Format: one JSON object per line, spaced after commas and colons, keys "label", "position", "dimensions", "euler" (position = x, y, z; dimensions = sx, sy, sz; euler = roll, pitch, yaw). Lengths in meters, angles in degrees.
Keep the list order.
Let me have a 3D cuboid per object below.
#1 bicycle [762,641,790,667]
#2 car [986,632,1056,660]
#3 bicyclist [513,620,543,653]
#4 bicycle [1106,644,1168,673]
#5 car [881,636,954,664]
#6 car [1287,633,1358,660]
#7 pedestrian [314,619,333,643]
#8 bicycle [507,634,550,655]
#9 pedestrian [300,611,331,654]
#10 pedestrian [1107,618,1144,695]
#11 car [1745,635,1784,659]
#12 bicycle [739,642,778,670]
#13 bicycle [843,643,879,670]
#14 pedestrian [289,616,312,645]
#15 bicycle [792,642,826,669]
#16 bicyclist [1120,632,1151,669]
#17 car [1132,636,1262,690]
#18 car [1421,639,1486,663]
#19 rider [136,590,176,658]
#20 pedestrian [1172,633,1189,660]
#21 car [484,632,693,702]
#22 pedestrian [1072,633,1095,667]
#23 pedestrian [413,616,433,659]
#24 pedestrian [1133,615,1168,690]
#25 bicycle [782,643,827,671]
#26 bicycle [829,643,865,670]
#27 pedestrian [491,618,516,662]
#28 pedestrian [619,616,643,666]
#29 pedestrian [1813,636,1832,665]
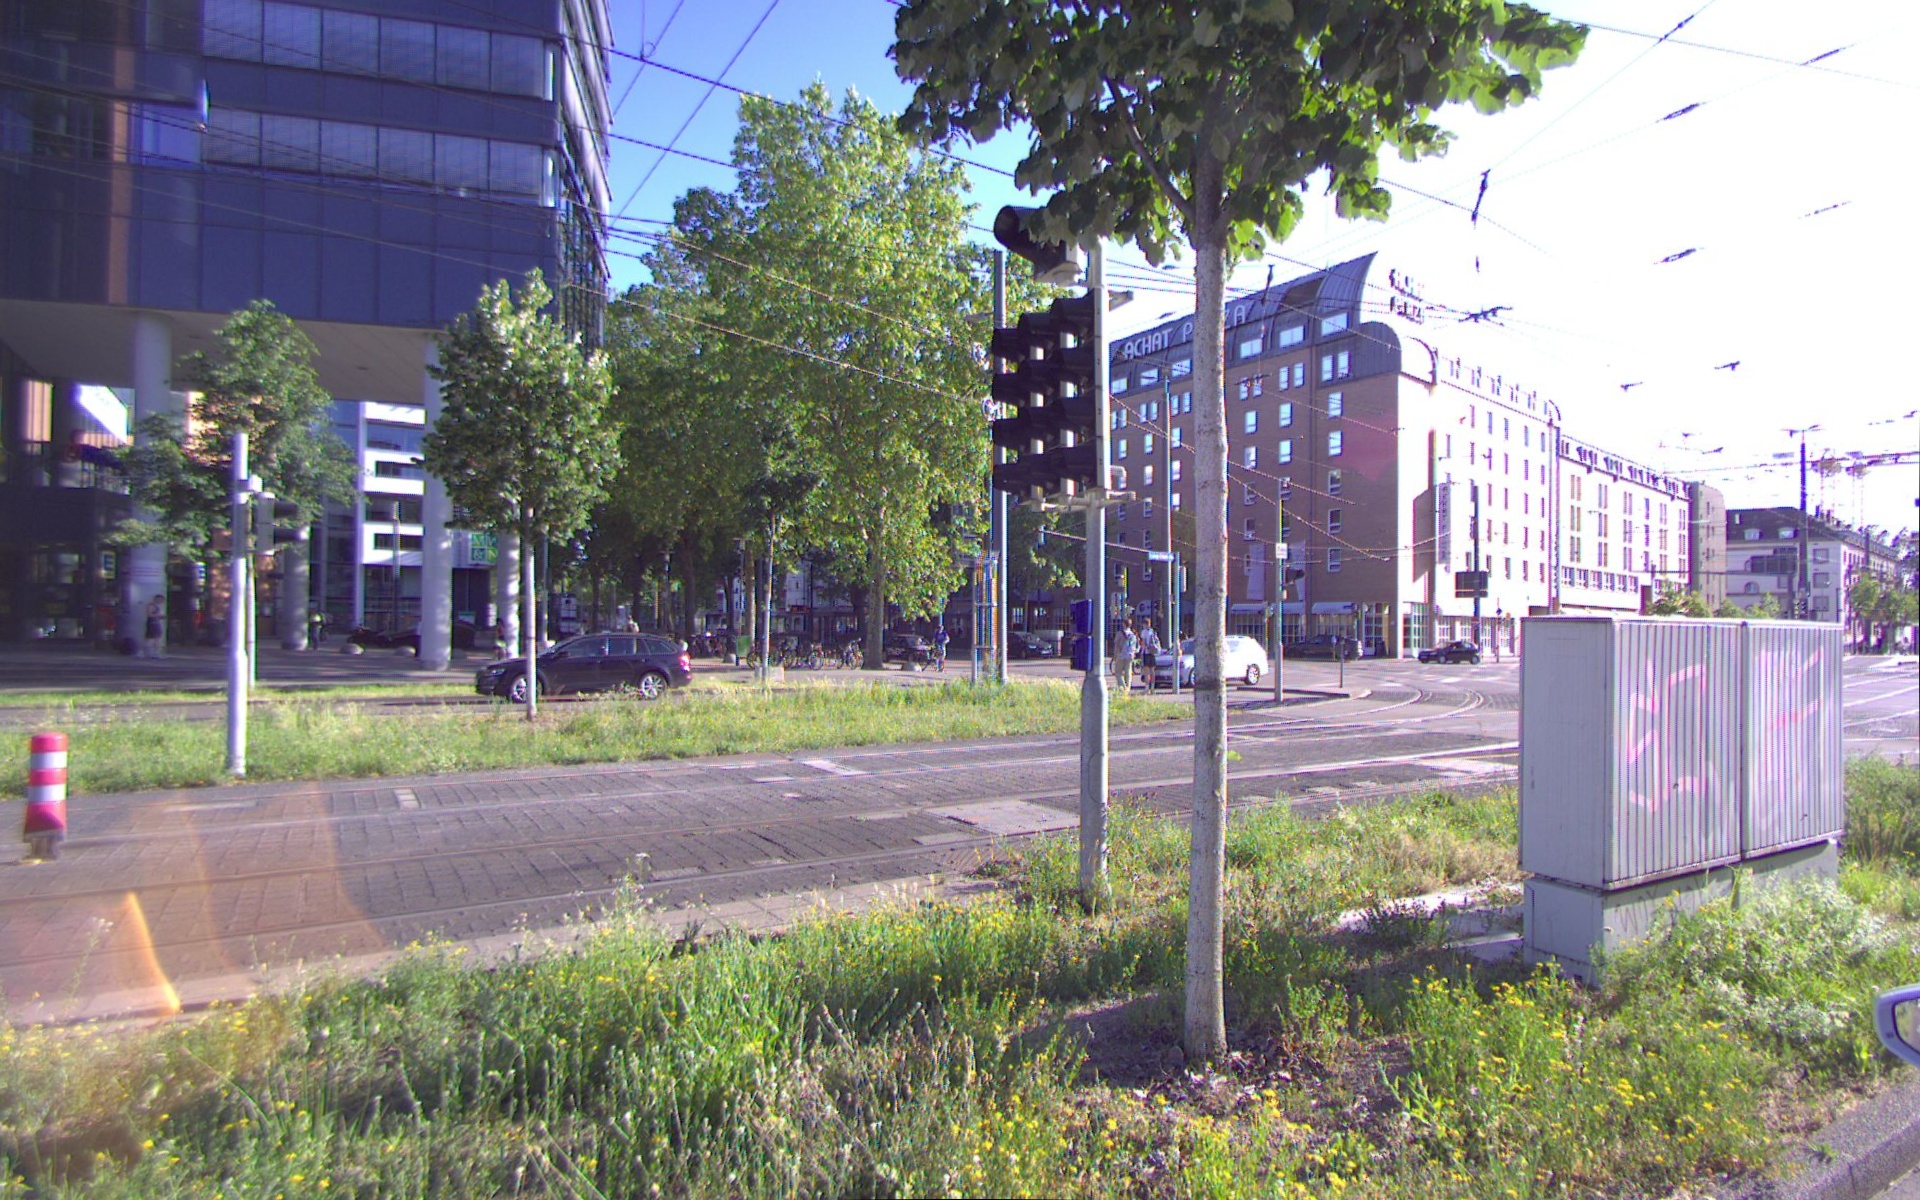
{"label": "bicycle", "position": [-7.017, 2.050, 38.362], "dimensions": [0.530, 0.964, 1.772], "euler": [1, -1, 7]}
{"label": "car", "position": [3.328, 2.514, 55.145], "dimensions": [1.743, 1.439, 3.960], "euler": [2, -2, -35]}
{"label": "bicyclist", "position": [-19.424, 1.633, 45.194], "dimensions": [0.667, 1.484, 1.015], "euler": [0, -1, 27]}
{"label": "bicycle", "position": [6.928, 2.268, 39.182], "dimensions": [2.900, 1.099, 0.645], "euler": [2, -2, -38]}
{"label": "car", "position": [-2.129, 2.420, 49.142], "dimensions": [1.977, 1.283, 3.968], "euler": [1, -2, -30]}
{"label": "car", "position": [22.630, 2.868, 62.795], "dimensions": [1.740, 1.570, 3.965], "euler": [1, -2, -32]}
{"label": "pedestrian", "position": [-34.449, 1.685, 54.400], "dimensions": [0.651, 1.294, 0.636], "euler": [1, 0, -13]}
{"label": "bicycle", "position": [-19.428, 2.001, 45.222], "dimensions": [0.490, 0.922, 1.886], "euler": [0, -2, 27]}
{"label": "pedestrian", "position": [-26.484, 1.323, 41.270], "dimensions": [0.794, 1.730, 0.789], "euler": [1, 0, -13]}
{"label": "pedestrian", "position": [4.047, 1.373, 24.548], "dimensions": [0.656, 1.854, 0.627], "euler": [1, -1, -36]}
{"label": "car", "position": [53.365, 3.093, 66.611], "dimensions": [1.726, 1.524, 3.858], "euler": [-1, -2, 43]}
{"label": "bicycle", "position": [-7.440, 2.065, 37.009], "dimensions": [0.538, 0.964, 1.748], "euler": [2, -2, -44]}
{"label": "bicycle", "position": [-3.771, 2.134, 38.240], "dimensions": [0.536, 0.964, 1.753], "euler": [2, -2, -36]}
{"label": "pedestrian", "position": [-34.767, 1.611, 52.961], "dimensions": [0.647, 1.500, 1.053], "euler": [1, 0, -13]}
{"label": "bicycle", "position": [-5.751, 2.103, 38.232], "dimensions": [0.536, 0.964, 1.753], "euler": [2, -2, -36]}
{"label": "bicyclist", "position": [6.825, 1.962, 39.113], "dimensions": [0.942, 1.393, 0.752], "euler": [2, -1, -37]}
{"label": "car", "position": [7.112, 1.839, 29.995], "dimensions": [3.960, 1.468, 1.563], "euler": [2, -2, -35]}
{"label": "car", "position": [30.341, 3.096, 61.733], "dimensions": [3.955, 1.407, 1.745], "euler": [2, -2, -32]}
{"label": "rider", "position": [-21.957, 0.660, 27.437], "dimensions": [0.704, 1.826, 0.715], "euler": [1, -1, -29]}
{"label": "pedestrian", "position": [12.592, 2.624, 57.304], "dimensions": [0.652, 1.523, 0.672], "euler": [1, -1, -33]}
{"label": "car", "position": [-8.267, 1.470, 22.509], "dimensions": [4.104, 1.440, 1.711], "euler": [2, -4, -36]}
{"label": "pedestrian", "position": [6.035, 2.462, 49.228], "dimensions": [0.832, 1.619, 0.692], "euler": [1, 0, -33]}
{"label": "pedestrian", "position": [-19.019, 1.337, 35.560], "dimensions": [0.566, 1.500, 0.450], "euler": [1, 0, -30]}
{"label": "pedestrian", "position": [4.758, 1.299, 25.110], "dimensions": [0.656, 1.841, 0.559], "euler": [1, -1, -36]}
{"label": "bicycle", "position": [-5.710, 2.095, 36.839], "dimensions": [1.742, 0.964, 0.540], "euler": [0, -1, 34]}
{"label": "bicycle", "position": [-4.274, 2.119, 37.880], "dimensions": [0.536, 0.964, 1.753], "euler": [2, -2, -36]}
{"label": "pedestrian", "position": [-17.255, 1.508, 37.974], "dimensions": [0.826, 1.619, 0.730], "euler": [1, 0, -25]}
{"label": "pedestrian", "position": [-13.787, 1.722, 42.100], "dimensions": [0.826, 2.040, 0.730], "euler": [1, 0, -25]}
{"label": "pedestrian", "position": [50.185, 2.912, 58.472], "dimensions": [0.739, 1.662, 0.758], "euler": [2, -2, -42]}
